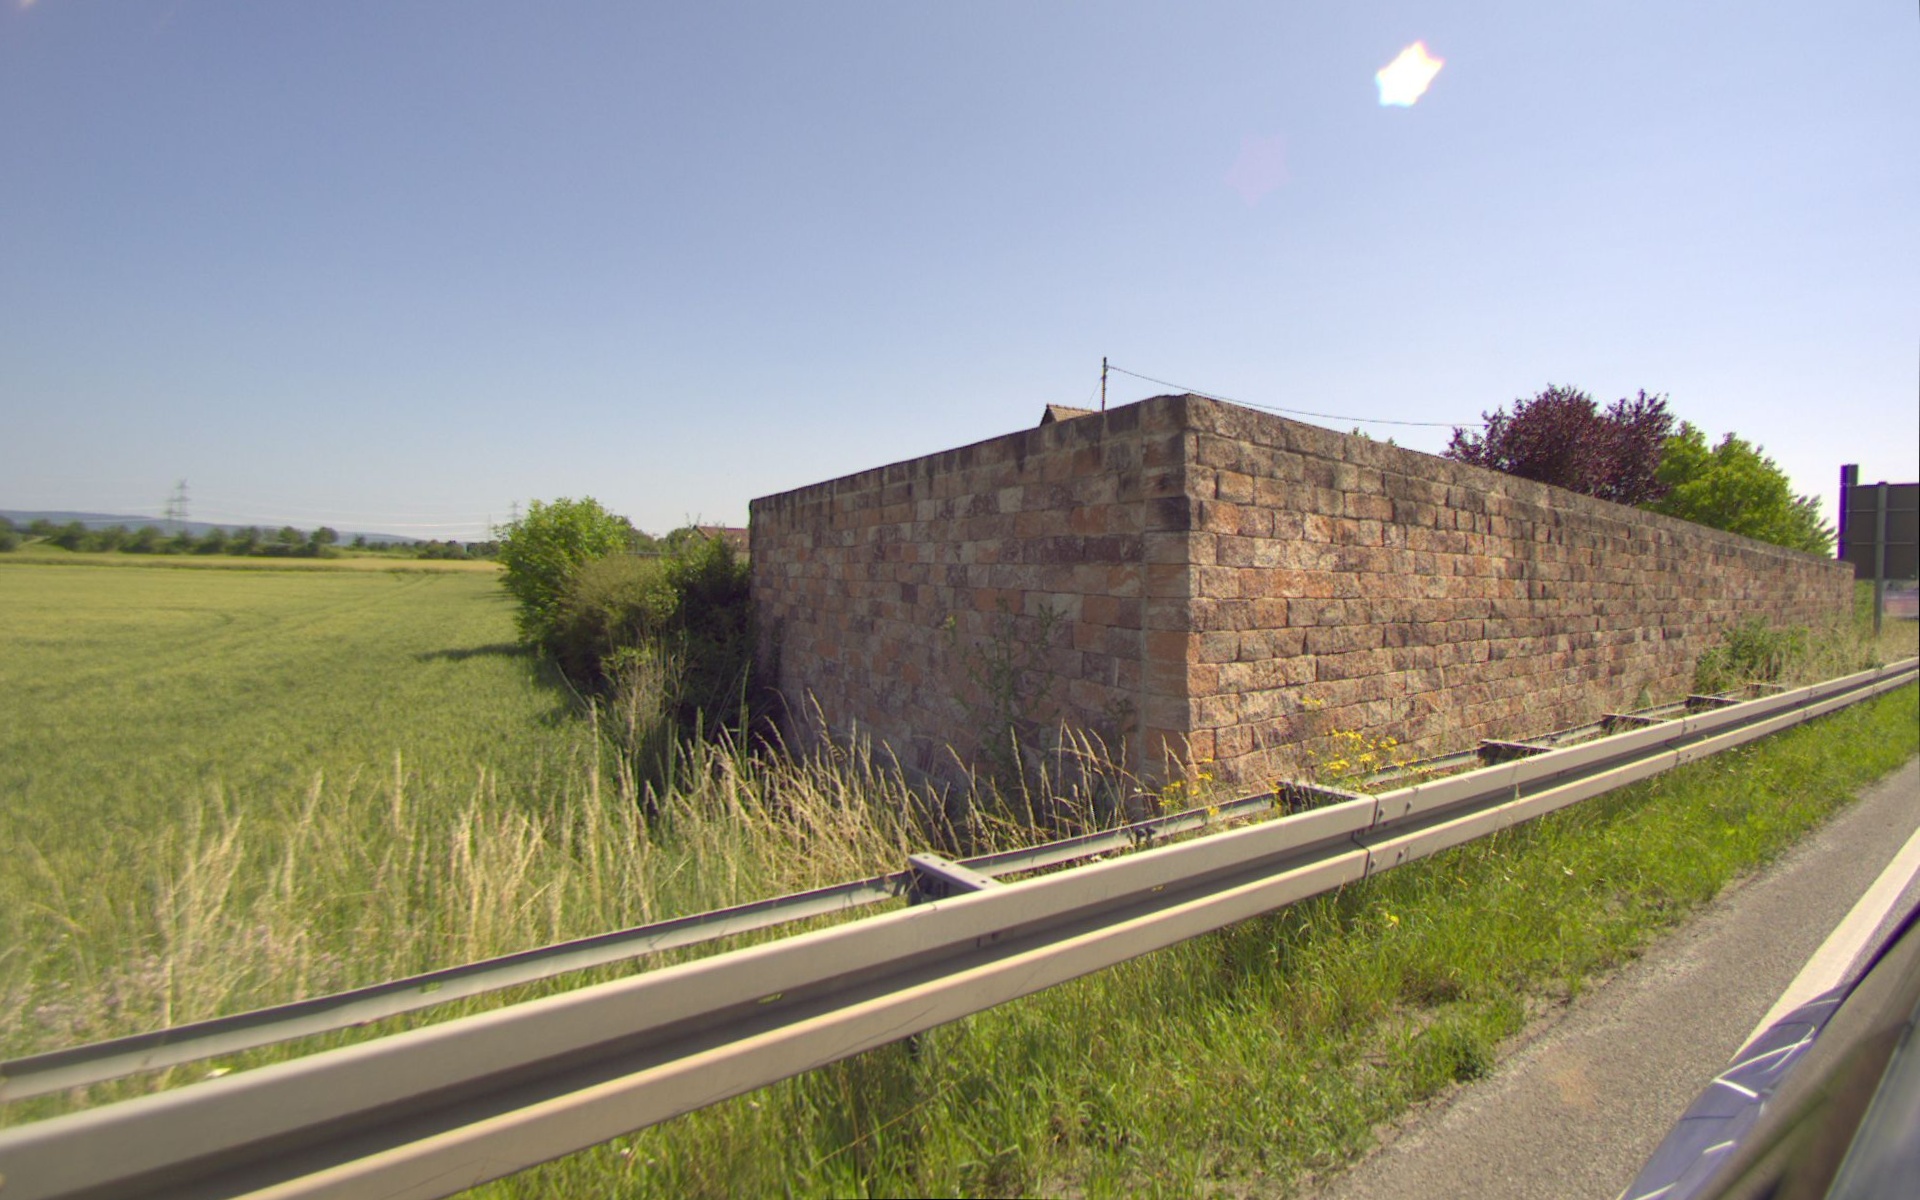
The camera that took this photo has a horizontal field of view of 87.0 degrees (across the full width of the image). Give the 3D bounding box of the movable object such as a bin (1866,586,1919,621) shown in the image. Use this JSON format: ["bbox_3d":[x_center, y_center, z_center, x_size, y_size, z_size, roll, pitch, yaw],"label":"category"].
[{"bbox_3d":[64.361,0.218,68.784,4.092,2.360,1.258,0,0,43],"label":"movable object such as a bin"}]
